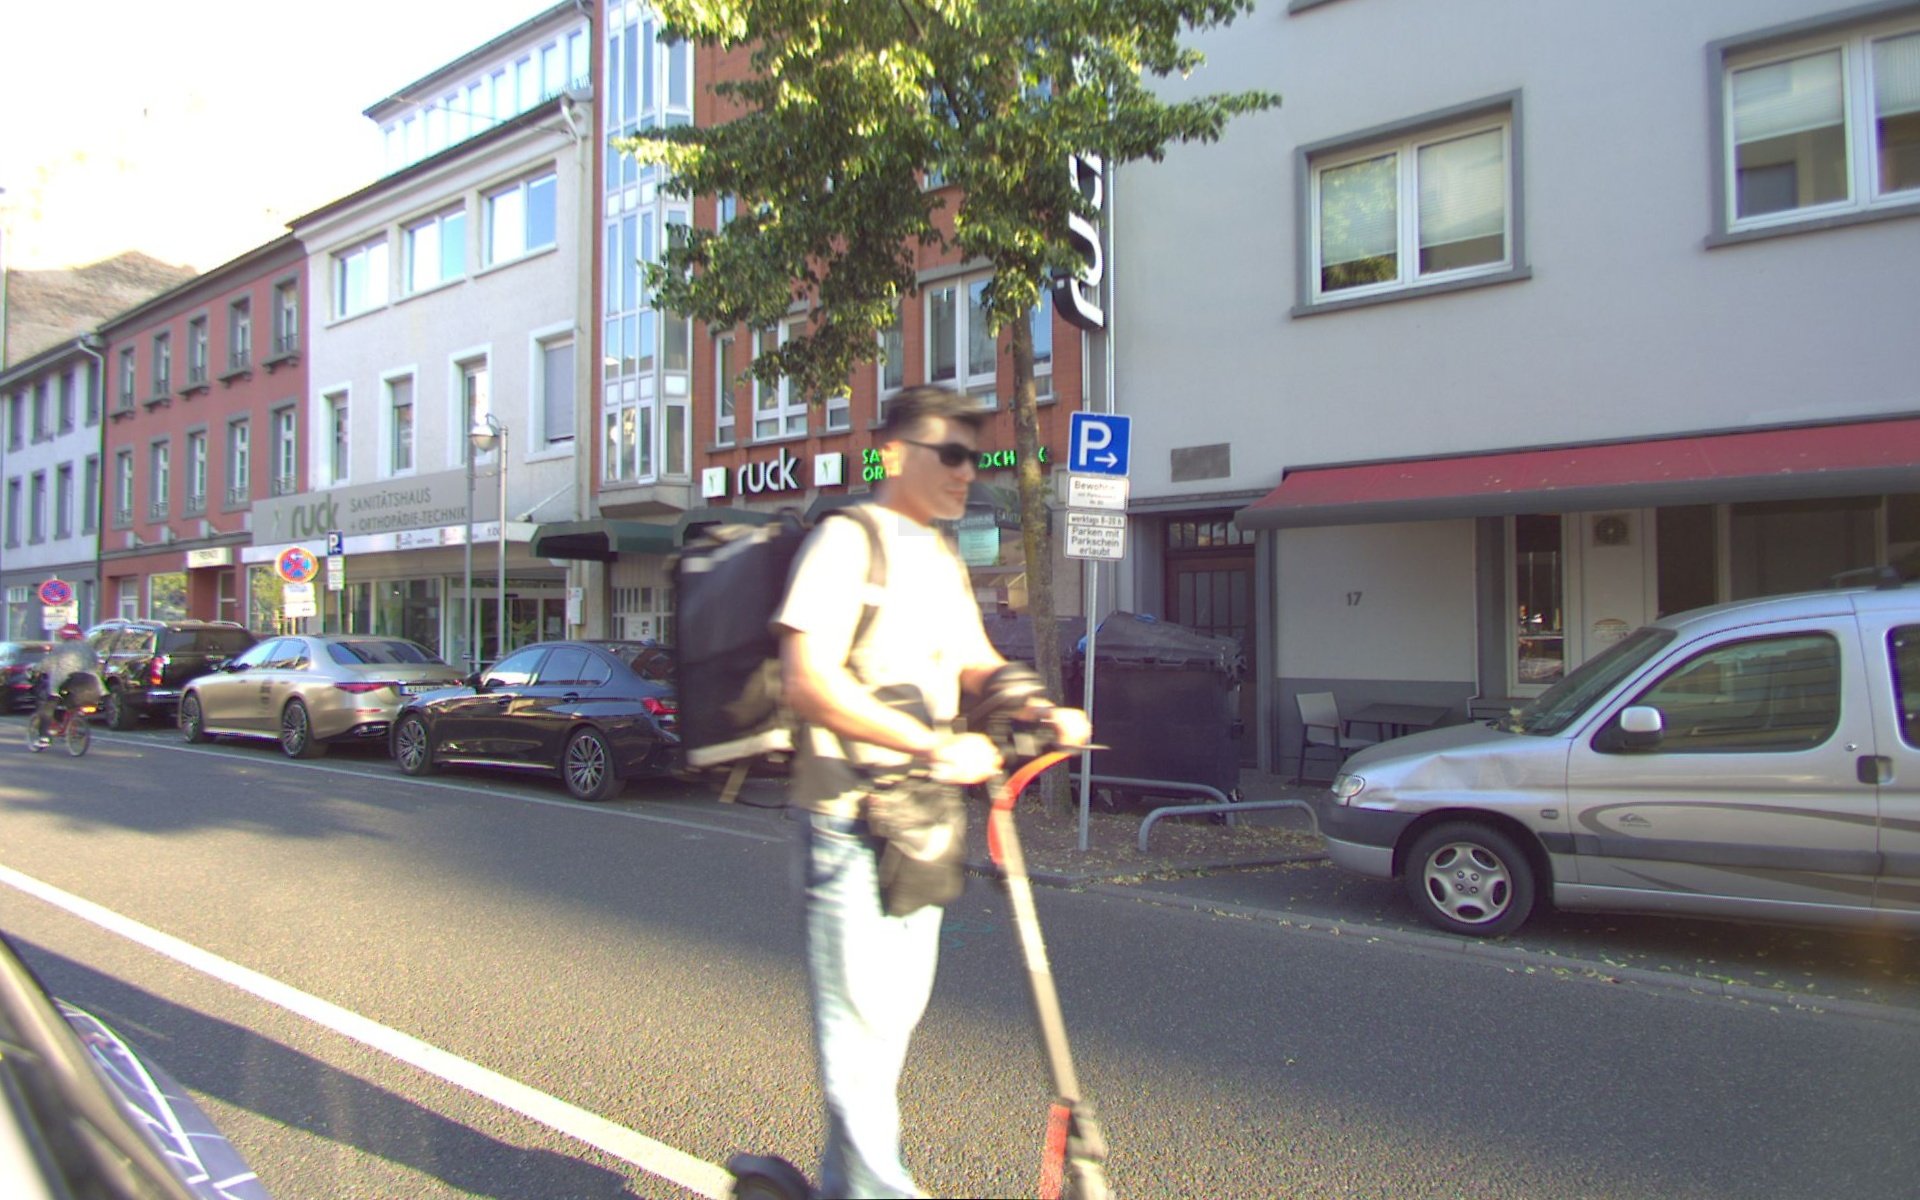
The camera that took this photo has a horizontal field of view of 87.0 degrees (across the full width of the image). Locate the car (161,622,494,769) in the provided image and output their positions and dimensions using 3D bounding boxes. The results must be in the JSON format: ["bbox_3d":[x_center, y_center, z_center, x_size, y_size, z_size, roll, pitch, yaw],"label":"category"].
[{"bbox_3d":[-8.428,1.150,13.333,4.931,1.612,1.875,-2,-3,34],"label":"car"}]

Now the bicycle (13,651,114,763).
[{"bbox_3d":[-10.874,1.261,12.260,1.688,1.246,0.416,-1,0,31],"label":"bicycle"}]

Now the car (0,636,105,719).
[{"bbox_3d":[-19.182,1.521,20.563,3.831,1.536,1.718,-2,-2,33],"label":"car"}]

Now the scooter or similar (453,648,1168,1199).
[{"bbox_3d":[-0.439,0.790,2.132,1.668,1.361,0.538,-2,-2,41],"label":"scooter or similar"}]

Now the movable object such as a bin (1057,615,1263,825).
[{"bbox_3d":[1.631,0.913,8.297,1.480,1.555,0.745,-1,0,33],"label":"movable object such as a bin"}]

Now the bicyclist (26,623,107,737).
[{"bbox_3d":[-10.769,0.942,12.198,0.658,1.312,0.563,-1,0,32],"label":"bicyclist"}]

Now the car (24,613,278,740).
[{"bbox_3d":[-13.975,1.252,17.400,4.932,1.898,1.952,-2,-3,33],"label":"car"}]

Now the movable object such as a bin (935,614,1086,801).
[{"bbox_3d":[0.455,0.914,9.066,1.097,1.547,0.740,-2,-1,33],"label":"movable object such as a bin"}]

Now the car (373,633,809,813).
[{"bbox_3d":[-3.779,1.054,10.126,4.403,1.403,1.786,-1,-1,32],"label":"car"}]

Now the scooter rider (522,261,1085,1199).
[{"bbox_3d":[-0.308,0.409,2.058,0.788,1.821,0.803,-1,0,41],"label":"scooter rider"}]

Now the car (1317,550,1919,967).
[{"bbox_3d":[3.990,0.634,4.977,3.984,1.676,1.703,-1,0,30],"label":"car"}]
